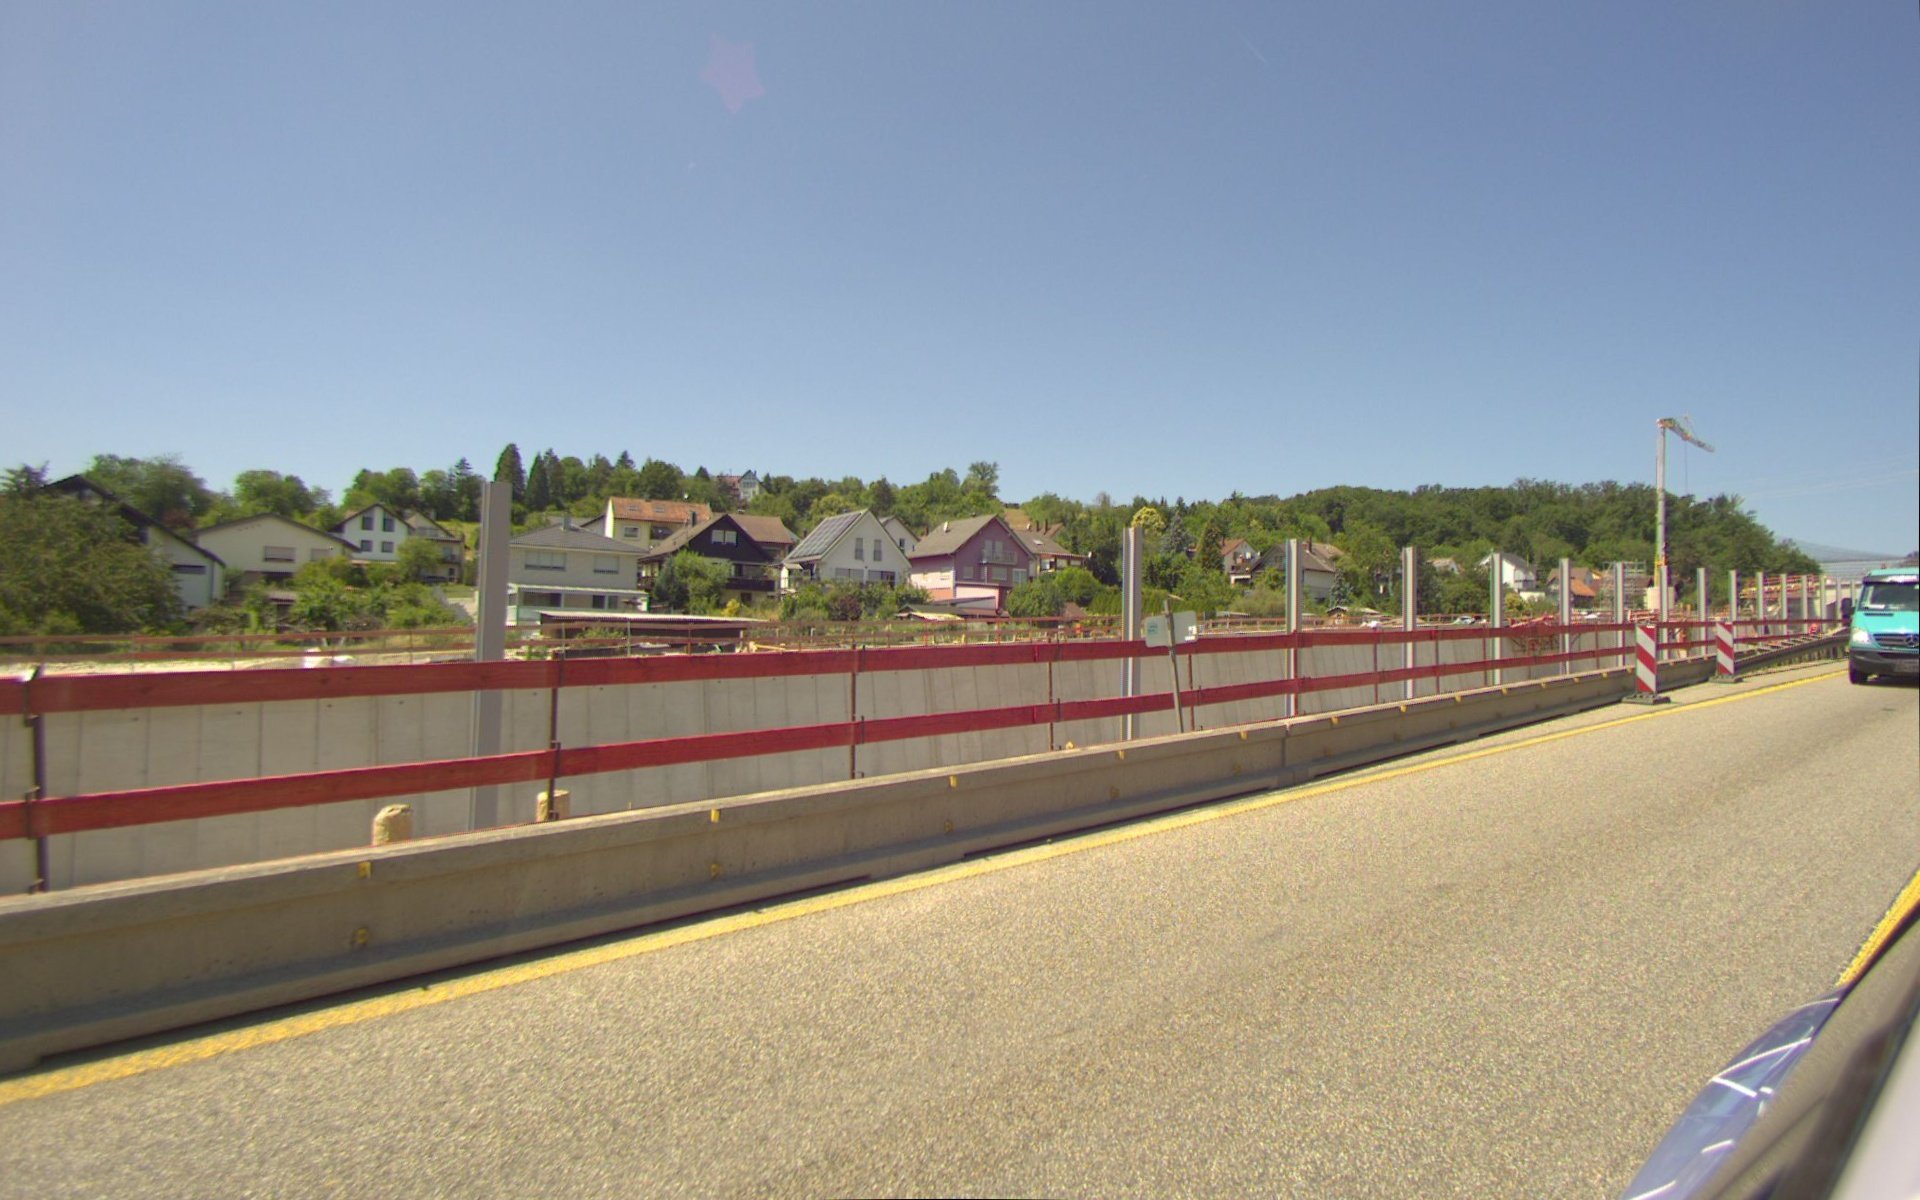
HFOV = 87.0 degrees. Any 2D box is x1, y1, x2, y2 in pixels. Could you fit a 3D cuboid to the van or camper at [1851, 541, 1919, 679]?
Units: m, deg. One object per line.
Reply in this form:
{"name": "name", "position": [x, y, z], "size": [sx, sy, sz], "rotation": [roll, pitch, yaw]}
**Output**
{"name": "van or camper", "position": [20.395, 0.213, 20.821], "size": [7.536, 2.504, 2.096], "rotation": [1, -1, -41]}
